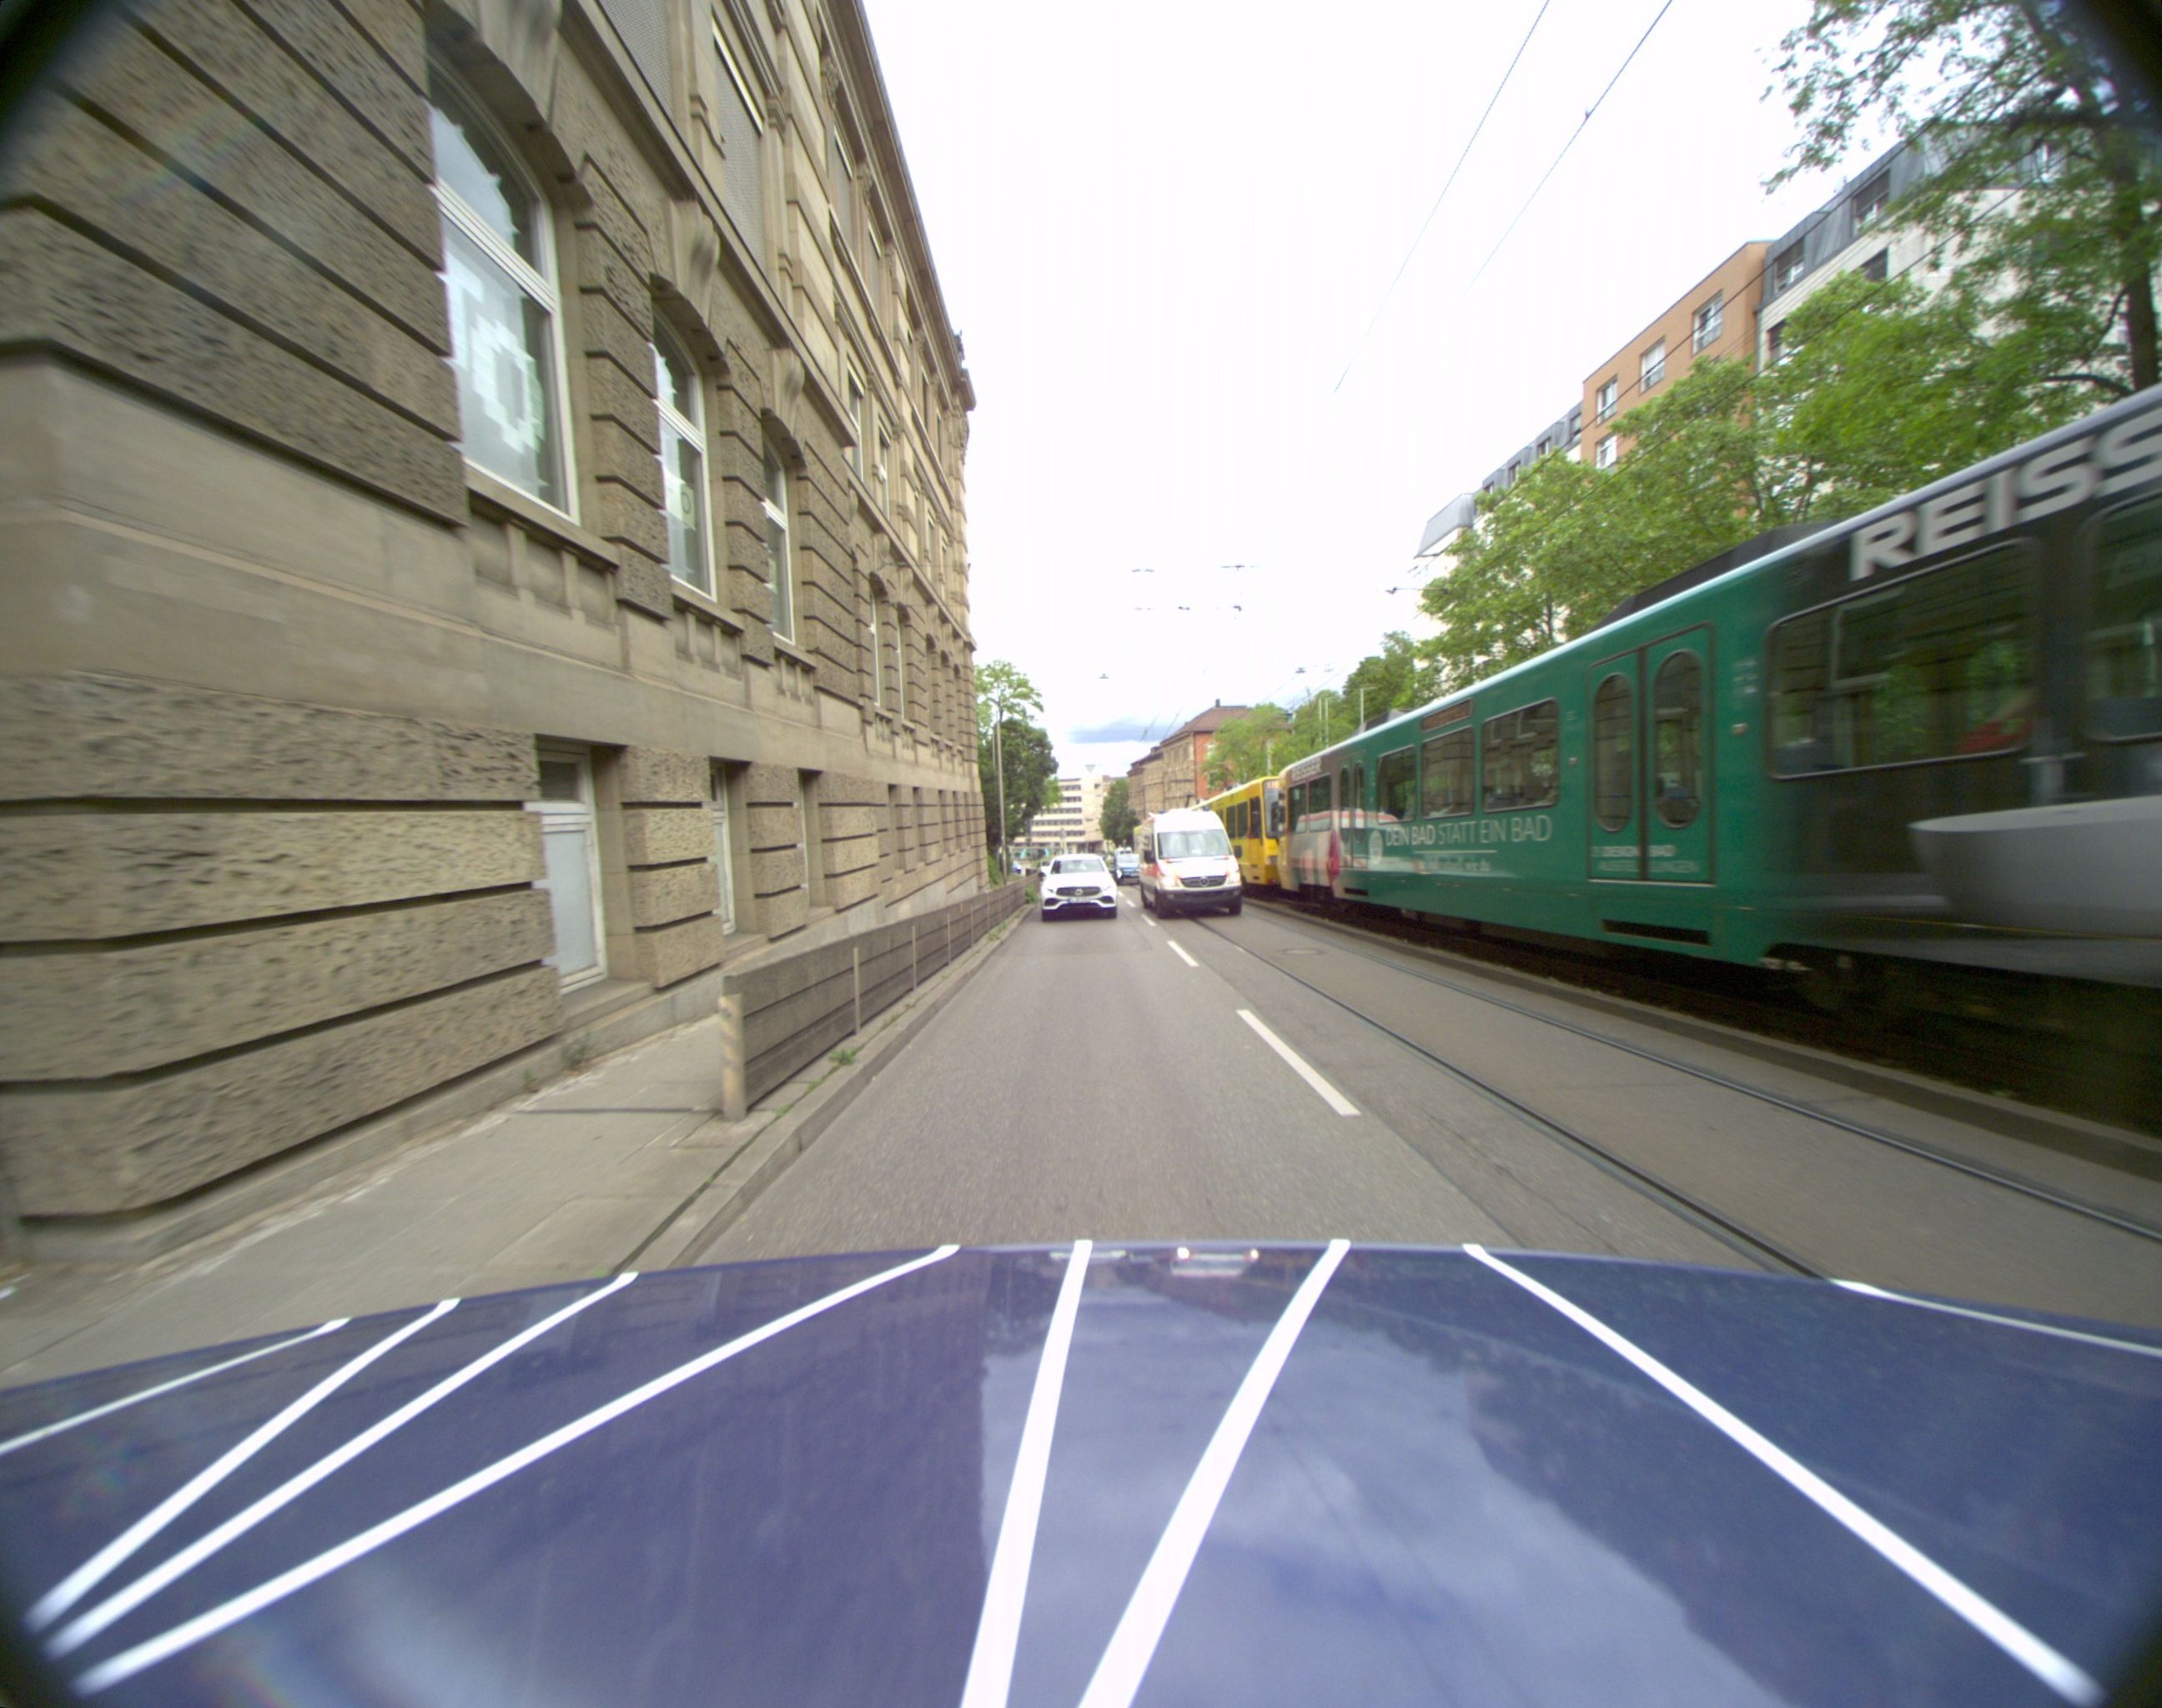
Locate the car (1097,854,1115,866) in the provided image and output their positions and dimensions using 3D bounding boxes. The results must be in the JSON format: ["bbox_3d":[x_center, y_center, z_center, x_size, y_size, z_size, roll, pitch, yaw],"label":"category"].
[{"bbox_3d":[3.649,0.932,112.549,2.000,1.657,3.997,-4,0,-8],"label":"car"}]

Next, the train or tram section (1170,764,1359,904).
[{"bbox_3d":[6.224,-0.564,30.533,2.883,3.704,18.701,-4,0,0],"label":"train or tram section"}]

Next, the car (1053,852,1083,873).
[{"bbox_3d":[-1.058,0.649,60.735,1.999,1.543,4.315,-3,1,-5],"label":"car"}]

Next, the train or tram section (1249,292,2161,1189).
[{"bbox_3d":[6.074,-0.530,11.784,2.883,3.704,18.756,-4,0,1],"label":"train or tram section"}]

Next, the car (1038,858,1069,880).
[{"bbox_3d":[-1.975,1.007,53.424,1.823,1.440,3.850,-2,0,-7],"label":"car"}]

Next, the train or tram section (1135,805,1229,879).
[{"bbox_3d":[5.805,-0.613,47.226,2.890,3.704,14.851,-4,0,-3],"label":"train or tram section"}]

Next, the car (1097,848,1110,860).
[{"bbox_3d":[4.172,0.003,140.908,1.872,2.250,4.748,-2,0,-4],"label":"car"}]

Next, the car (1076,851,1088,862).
[{"bbox_3d":[0.216,0.456,147.807,2.148,2.002,4.746,-1,0,-2],"label":"car"}]

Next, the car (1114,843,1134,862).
[{"bbox_3d":[6.529,-0.163,115.266,2.215,2.806,4.781,-2,0,-6],"label":"car"}]

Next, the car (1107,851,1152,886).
[{"bbox_3d":[2.426,0.718,38.974,1.931,1.563,4.180,-4,0,-1],"label":"car"}]

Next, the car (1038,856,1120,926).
[{"bbox_3d":[0.033,0.890,20.328,1.894,1.609,4.479,-2,0,2],"label":"car"}]

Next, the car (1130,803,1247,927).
[{"bbox_3d":[2.613,0.262,19.986,2.039,2.684,5.854,-2,0,-1],"label":"car"}]

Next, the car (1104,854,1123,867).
[{"bbox_3d":[4.549,0.878,107.538,2.000,1.657,3.997,-4,0,-8],"label":"car"}]
